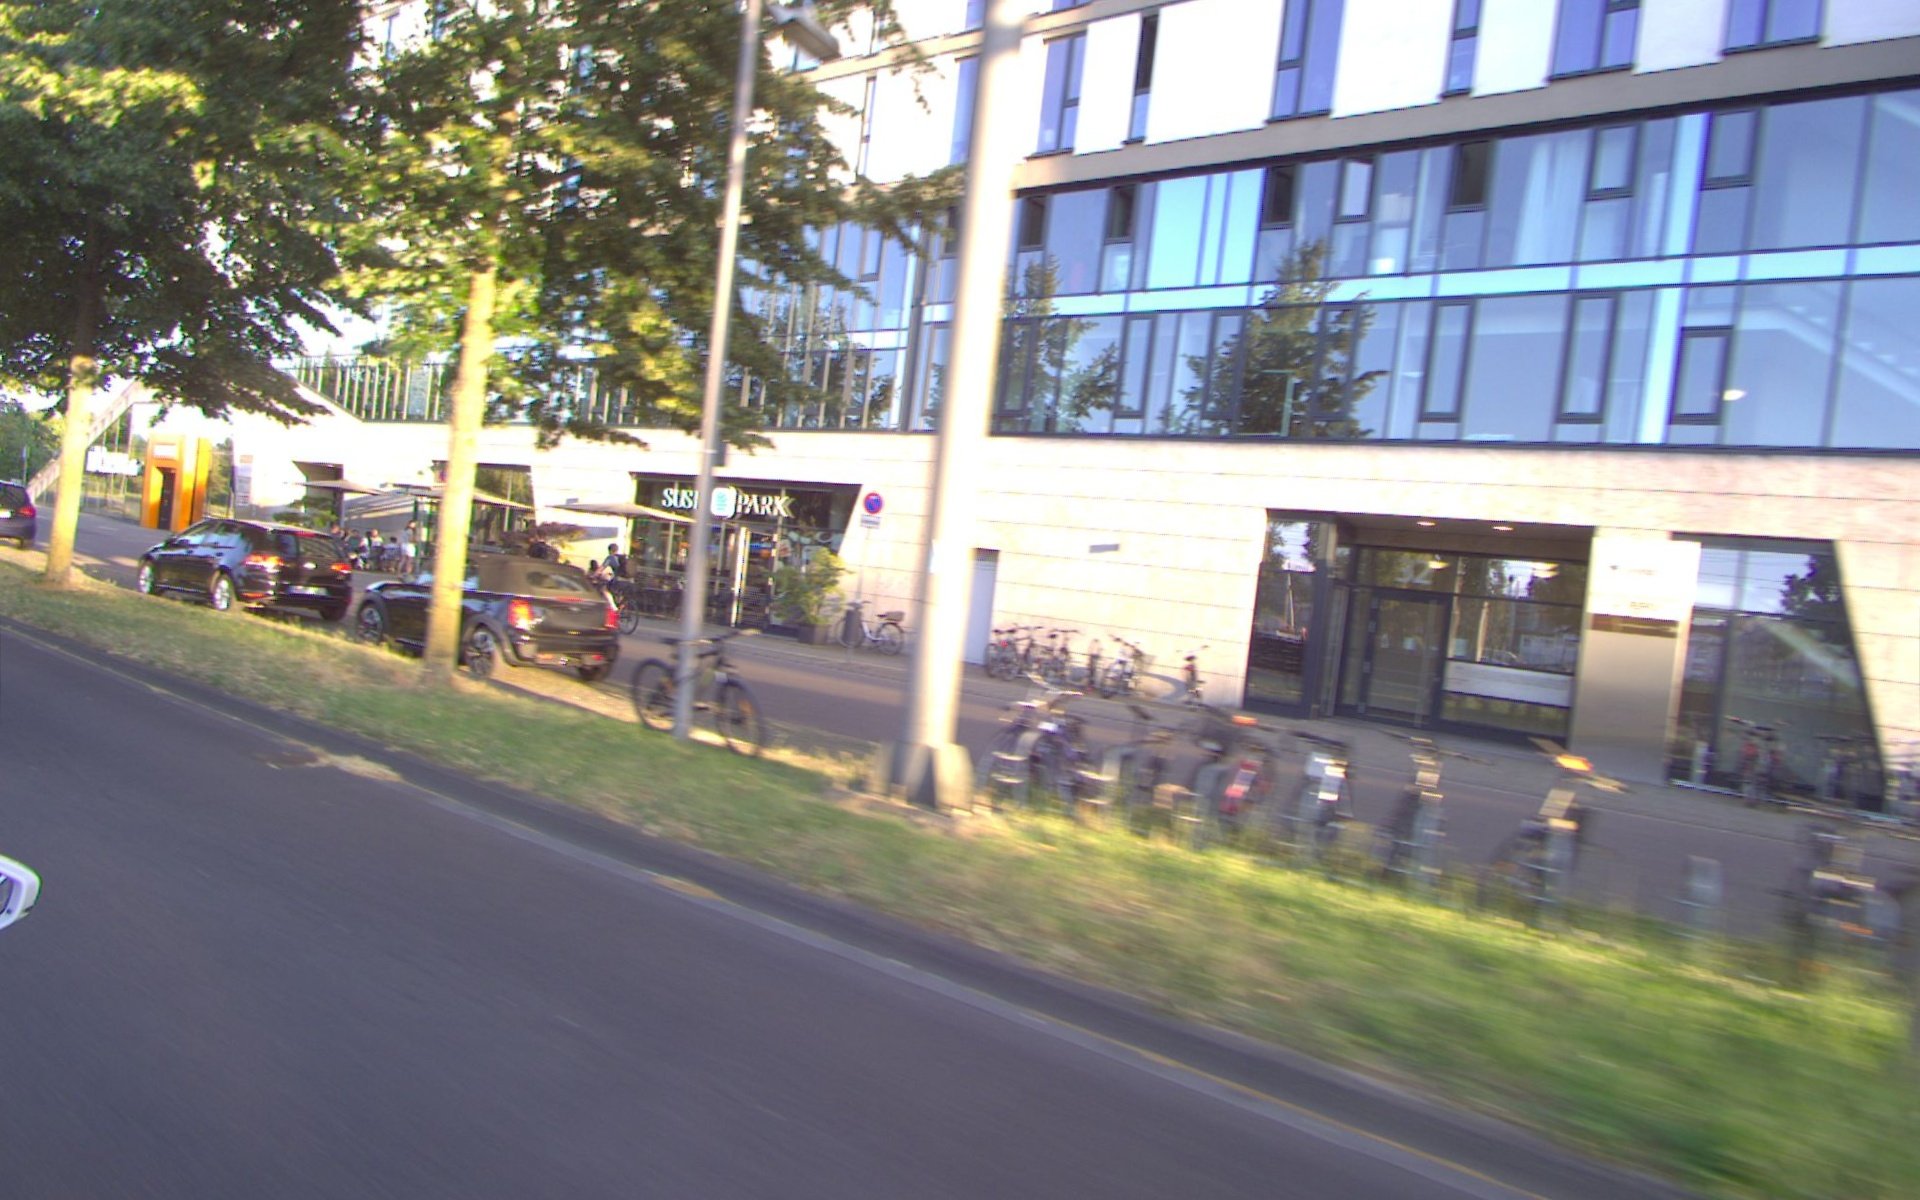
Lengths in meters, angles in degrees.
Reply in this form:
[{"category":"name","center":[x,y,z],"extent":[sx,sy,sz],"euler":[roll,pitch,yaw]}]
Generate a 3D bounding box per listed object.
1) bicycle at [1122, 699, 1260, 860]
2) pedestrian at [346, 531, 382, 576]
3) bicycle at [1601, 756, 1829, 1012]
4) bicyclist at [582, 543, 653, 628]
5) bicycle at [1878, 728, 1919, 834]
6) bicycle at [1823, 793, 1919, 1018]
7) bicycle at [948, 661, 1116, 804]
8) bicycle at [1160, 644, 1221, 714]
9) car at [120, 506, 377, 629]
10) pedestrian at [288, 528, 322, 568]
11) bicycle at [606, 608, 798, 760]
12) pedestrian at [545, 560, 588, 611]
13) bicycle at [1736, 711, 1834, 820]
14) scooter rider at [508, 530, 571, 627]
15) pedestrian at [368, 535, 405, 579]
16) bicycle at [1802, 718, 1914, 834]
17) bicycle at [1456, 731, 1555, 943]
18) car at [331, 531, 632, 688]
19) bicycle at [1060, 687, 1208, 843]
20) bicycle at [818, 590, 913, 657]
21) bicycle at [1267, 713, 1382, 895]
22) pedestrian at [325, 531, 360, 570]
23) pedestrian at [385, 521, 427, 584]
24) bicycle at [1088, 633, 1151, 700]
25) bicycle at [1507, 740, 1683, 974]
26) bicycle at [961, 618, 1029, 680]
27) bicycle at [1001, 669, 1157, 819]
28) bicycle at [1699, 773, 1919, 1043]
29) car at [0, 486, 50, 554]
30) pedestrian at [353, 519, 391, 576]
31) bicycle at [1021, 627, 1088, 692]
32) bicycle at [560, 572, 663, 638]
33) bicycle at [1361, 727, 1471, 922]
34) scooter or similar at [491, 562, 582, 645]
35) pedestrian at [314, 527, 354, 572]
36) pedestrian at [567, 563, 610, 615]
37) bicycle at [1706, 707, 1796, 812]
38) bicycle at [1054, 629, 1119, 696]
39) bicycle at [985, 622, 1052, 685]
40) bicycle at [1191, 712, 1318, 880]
[{"category":"bicycle","center":[1.765,1.267,7.426],"extent":[0.444,0.950,2.151],"euler":[8,-3,25]},{"category":"pedestrian","center":[-18.853,-1.460,31.834],"extent":[0.726,1.299,0.580],"euler":[7,1,28]},{"category":"bicycle","center":[4.247,1.505,5.823],"extent":[0.515,1.065,2.151],"euler":[8,-3,25]},{"category":"bicyclist","center":[-6.991,-0.285,20.541],"extent":[0.975,1.586,0.773],"euler":[7,1,30]},{"category":"bicycle","center":[11.999,2.258,12.358],"extent":[0.494,1.197,1.985],"euler":[7,0,29]},{"category":"bicycle","center":[5.292,1.649,5.240],"extent":[0.552,1.065,2.151],"euler":[8,-3,25]},{"category":"bicycle","center":[0.664,1.080,8.270],"extent":[0.536,0.950,2.151],"euler":[8,-3,25]},{"category":"bicycle","center":[4.045,1.367,17.588],"extent":[0.500,1.118,1.788],"euler":[7,0,27]},{"category":"car","center":[-11.697,-0.544,16.482],"extent":[4.216,1.490,1.780],"euler":[7,0,30]},{"category":"pedestrian","center":[-21.904,-1.741,33.654],"extent":[0.847,1.201,0.572],"euler":[7,1,33]},{"category":"bicycle","center":[-2.183,0.660,8.375],"extent":[1.816,0.992,0.319],"euler":[7,1,33]},{"category":"pedestrian","center":[-10.188,-0.372,26.035],"extent":[0.793,1.211,0.572],"euler":[7,1,32]},{"category":"bicycle","center":[10.604,2.082,12.988],"extent":[0.494,1.156,1.985],"euler":[7,0,29]},{"category":"scooter rider","center":[-7.665,-0.398,18.334],"extent":[0.818,1.659,0.526],"euler":[7,1,30]},{"category":"pedestrian","center":[-18.495,-1.394,32.469],"extent":[0.725,1.299,0.581],"euler":[7,1,14]},{"category":"bicycle","center":[11.236,2.157,12.654],"extent":[0.494,1.182,1.985],"euler":[7,0,29]},{"category":"bicycle","center":[3.383,1.381,6.332],"extent":[0.295,1.065,2.151],"euler":[8,-3,25]},{"category":"car","center":[-6.136,0.090,12.778],"extent":[3.818,1.490,1.576],"euler":[7,0,33]},{"category":"bicycle","center":[1.382,1.206,7.614],"extent":[0.435,0.950,2.151],"euler":[8,-3,25]},{"category":"bicycle","center":[-2.111,0.507,22.324],"extent":[2.228,1.224,0.469],"euler":[7,1,36]},{"category":"bicycle","center":[2.542,1.311,6.870],"extent":[0.435,0.983,2.151],"euler":[8,-3,25]},{"category":"pedestrian","center":[-20.672,-1.665,33.690],"extent":[0.708,1.201,0.614],"euler":[7,1,-5]},{"category":"pedestrian","center":[-16.397,-1.394,29.795],"extent":[0.676,1.759,0.705],"euler":[7,1,2]},{"category":"bicycle","center":[2.940,1.217,18.389],"extent":[0.500,1.118,1.788],"euler":[7,0,27]},{"category":"bicycle","center":[3.759,1.431,6.105],"extent":[0.515,1.065,2.151],"euler":[8,-3,25]},{"category":"bicycle","center":[0.701,0.976,19.712],"extent":[0.500,1.118,1.788],"euler":[7,0,27]},{"category":"bicycle","center":[0.991,1.095,7.816],"extent":[0.435,0.950,2.151],"euler":[8,-3,25]},{"category":"bicycle","center":[4.755,1.580,5.558],"extent":[0.561,1.065,2.151],"euler":[8,-3,25]},{"category":"car","center":[-24.181,-2.128,24.485],"extent":[4.088,1.484,1.759],"euler":[7,0,30]},{"category":"pedestrian","center":[-19.197,-1.717,32.834],"extent":[0.686,1.740,0.636],"euler":[7,1,12]},{"category":"bicycle","center":[1.801,1.126,18.957],"extent":[0.500,1.118,1.788],"euler":[7,0,27]},{"category":"bicycle","center":[-7.149,0.093,20.602],"extent":[2.028,1.093,0.773],"euler":[7,1,30]},{"category":"bicycle","center":[2.981,1.365,6.567],"extent":[0.435,0.997,2.151],"euler":[8,-3,25]},{"category":"scooter or similar","center":[-7.731,0.056,18.344],"extent":[1.636,1.327,0.526],"euler":[7,1,30]},{"category":"pedestrian","center":[-19.503,-1.564,31.362],"extent":[0.703,1.299,0.627],"euler":[7,1,11]},{"category":"pedestrian","center":[-9.427,-0.268,25.515],"extent":[0.793,1.211,0.571],"euler":[7,1,34]},{"category":"bicycle","center":[10.424,2.061,13.314],"extent":[0.494,1.156,1.985],"euler":[7,0,29]},{"category":"bicycle","center":[2.368,1.158,18.618],"extent":[0.500,1.118,1.788],"euler":[7,0,27]},{"category":"bicycle","center":[1.155,1.038,19.414],"extent":[0.500,1.118,1.788],"euler":[7,0,27]},{"category":"bicycle","center":[2.156,1.324,7.171],"extent":[0.435,0.950,2.151],"euler":[8,-3,25]}]
